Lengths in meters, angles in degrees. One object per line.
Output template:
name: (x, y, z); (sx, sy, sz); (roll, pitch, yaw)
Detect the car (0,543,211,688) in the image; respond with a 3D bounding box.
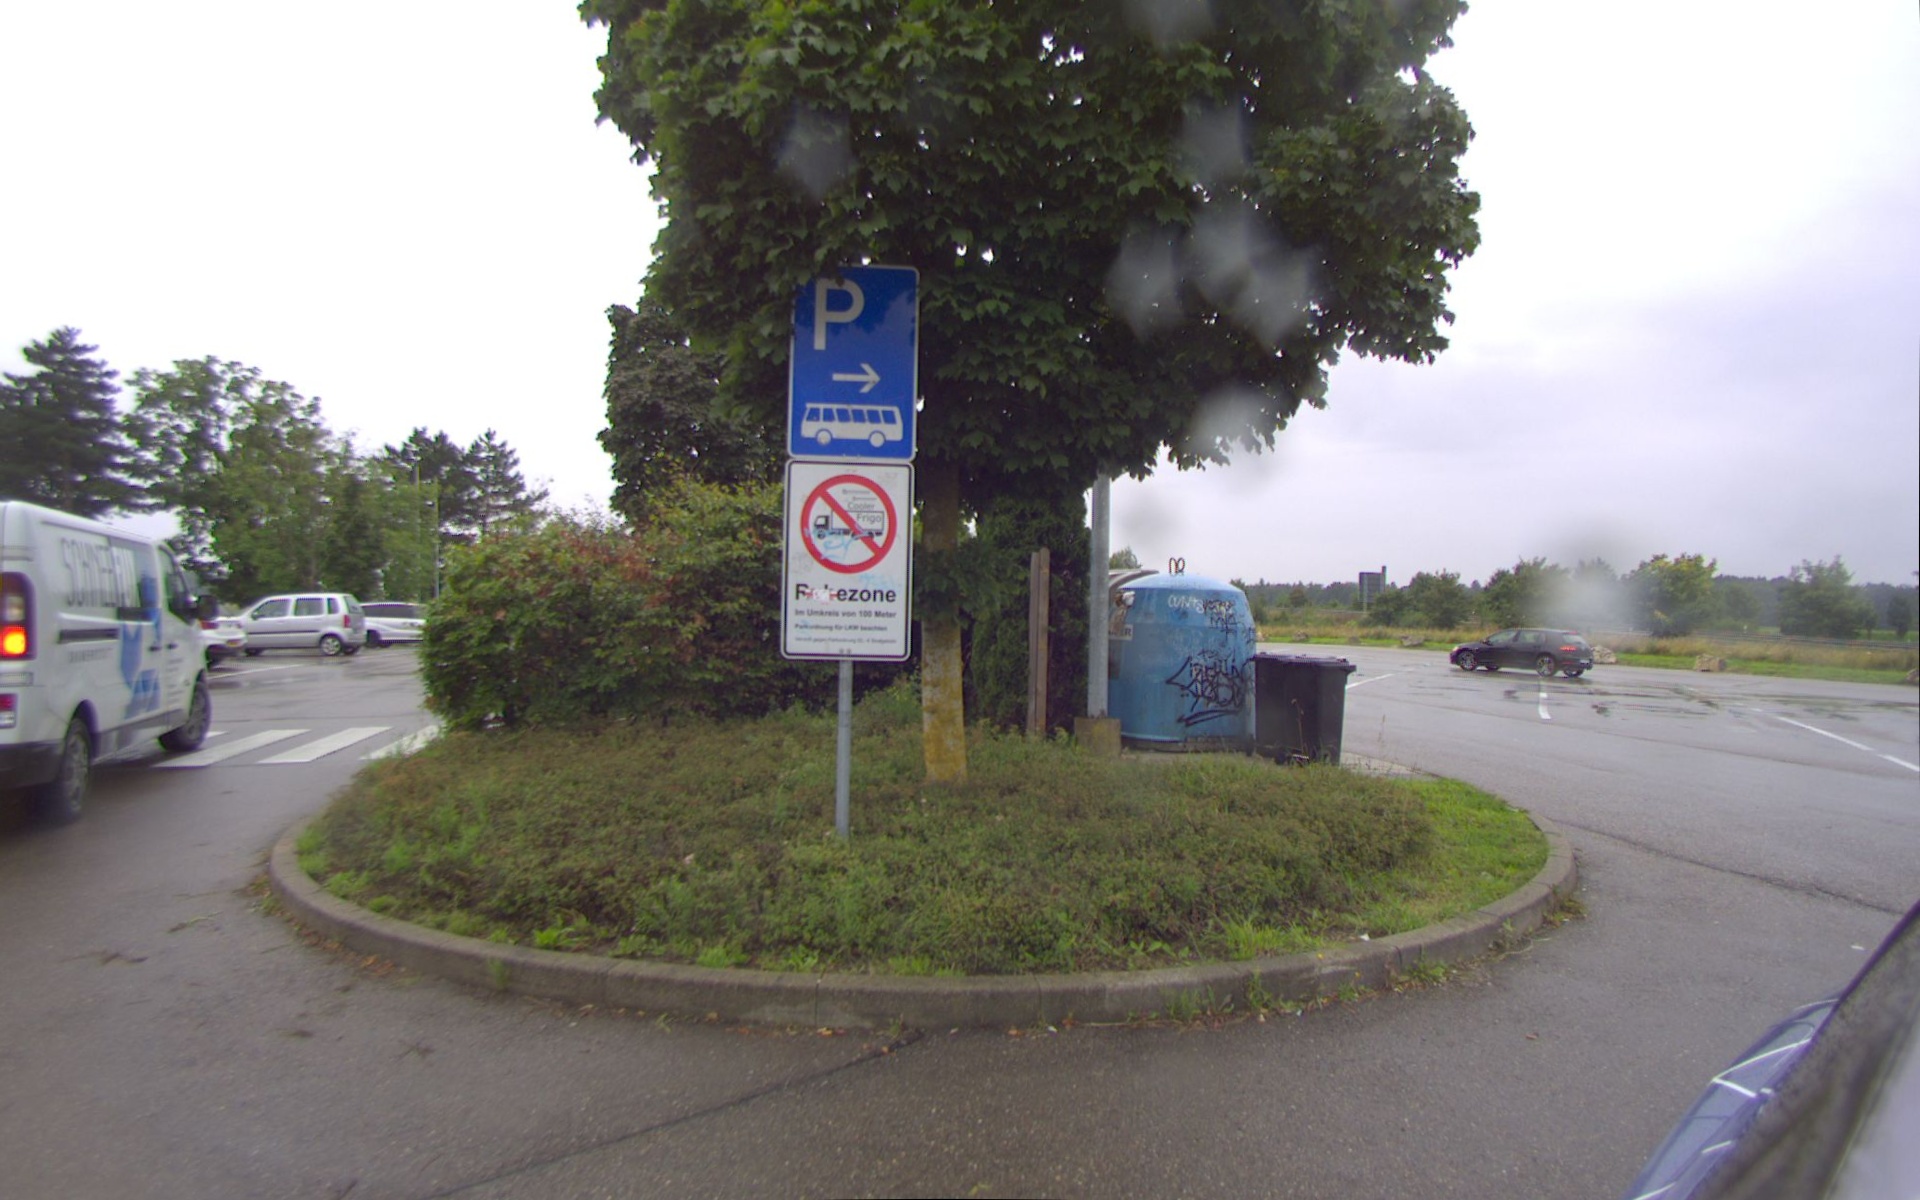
car: (-15.307, 0.206, 16.377); (4.668, 2.216, 2.004); (2, 0, -13)

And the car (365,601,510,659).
car: (-20.479, 1.174, 39.875); (4.668, 2.107, 2.004); (2, 0, -13)

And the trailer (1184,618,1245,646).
trailer: (10.576, 1.338, 41.954); (1.578, 1.081, 2.993); (1, -2, 34)

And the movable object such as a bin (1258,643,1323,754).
movable object such as a bin: (2.962, 0.868, 9.096); (0.442, 0.929, 0.488); (2, -1, 7)

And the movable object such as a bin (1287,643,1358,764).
movable object such as a bin: (3.053, 0.856, 8.547); (0.442, 0.950, 0.488); (2, -1, 7)

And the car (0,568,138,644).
car: (-25.794, 0.158, 28.465); (3.706, 2.039, 1.790); (1, 0, -17)

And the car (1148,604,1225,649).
car: (8.759, 1.004, 38.890); (1.539, 1.575, 4.006); (2, -1, 34)

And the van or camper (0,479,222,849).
van or camper: (-7.105, 0.358, 7.283); (2.150, 1.970, 5.204); (0, 0, -28)

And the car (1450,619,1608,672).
car: (18.130, 1.426, 32.434); (1.744, 1.452, 4.082); (2, 0, -31)

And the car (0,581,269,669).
car: (-16.027, 0.446, 18.972); (4.668, 1.490, 1.890); (2, 0, -13)

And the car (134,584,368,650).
car: (-18.684, 0.443, 26.923); (4.668, 1.607, 2.004); (2, 0, -13)
